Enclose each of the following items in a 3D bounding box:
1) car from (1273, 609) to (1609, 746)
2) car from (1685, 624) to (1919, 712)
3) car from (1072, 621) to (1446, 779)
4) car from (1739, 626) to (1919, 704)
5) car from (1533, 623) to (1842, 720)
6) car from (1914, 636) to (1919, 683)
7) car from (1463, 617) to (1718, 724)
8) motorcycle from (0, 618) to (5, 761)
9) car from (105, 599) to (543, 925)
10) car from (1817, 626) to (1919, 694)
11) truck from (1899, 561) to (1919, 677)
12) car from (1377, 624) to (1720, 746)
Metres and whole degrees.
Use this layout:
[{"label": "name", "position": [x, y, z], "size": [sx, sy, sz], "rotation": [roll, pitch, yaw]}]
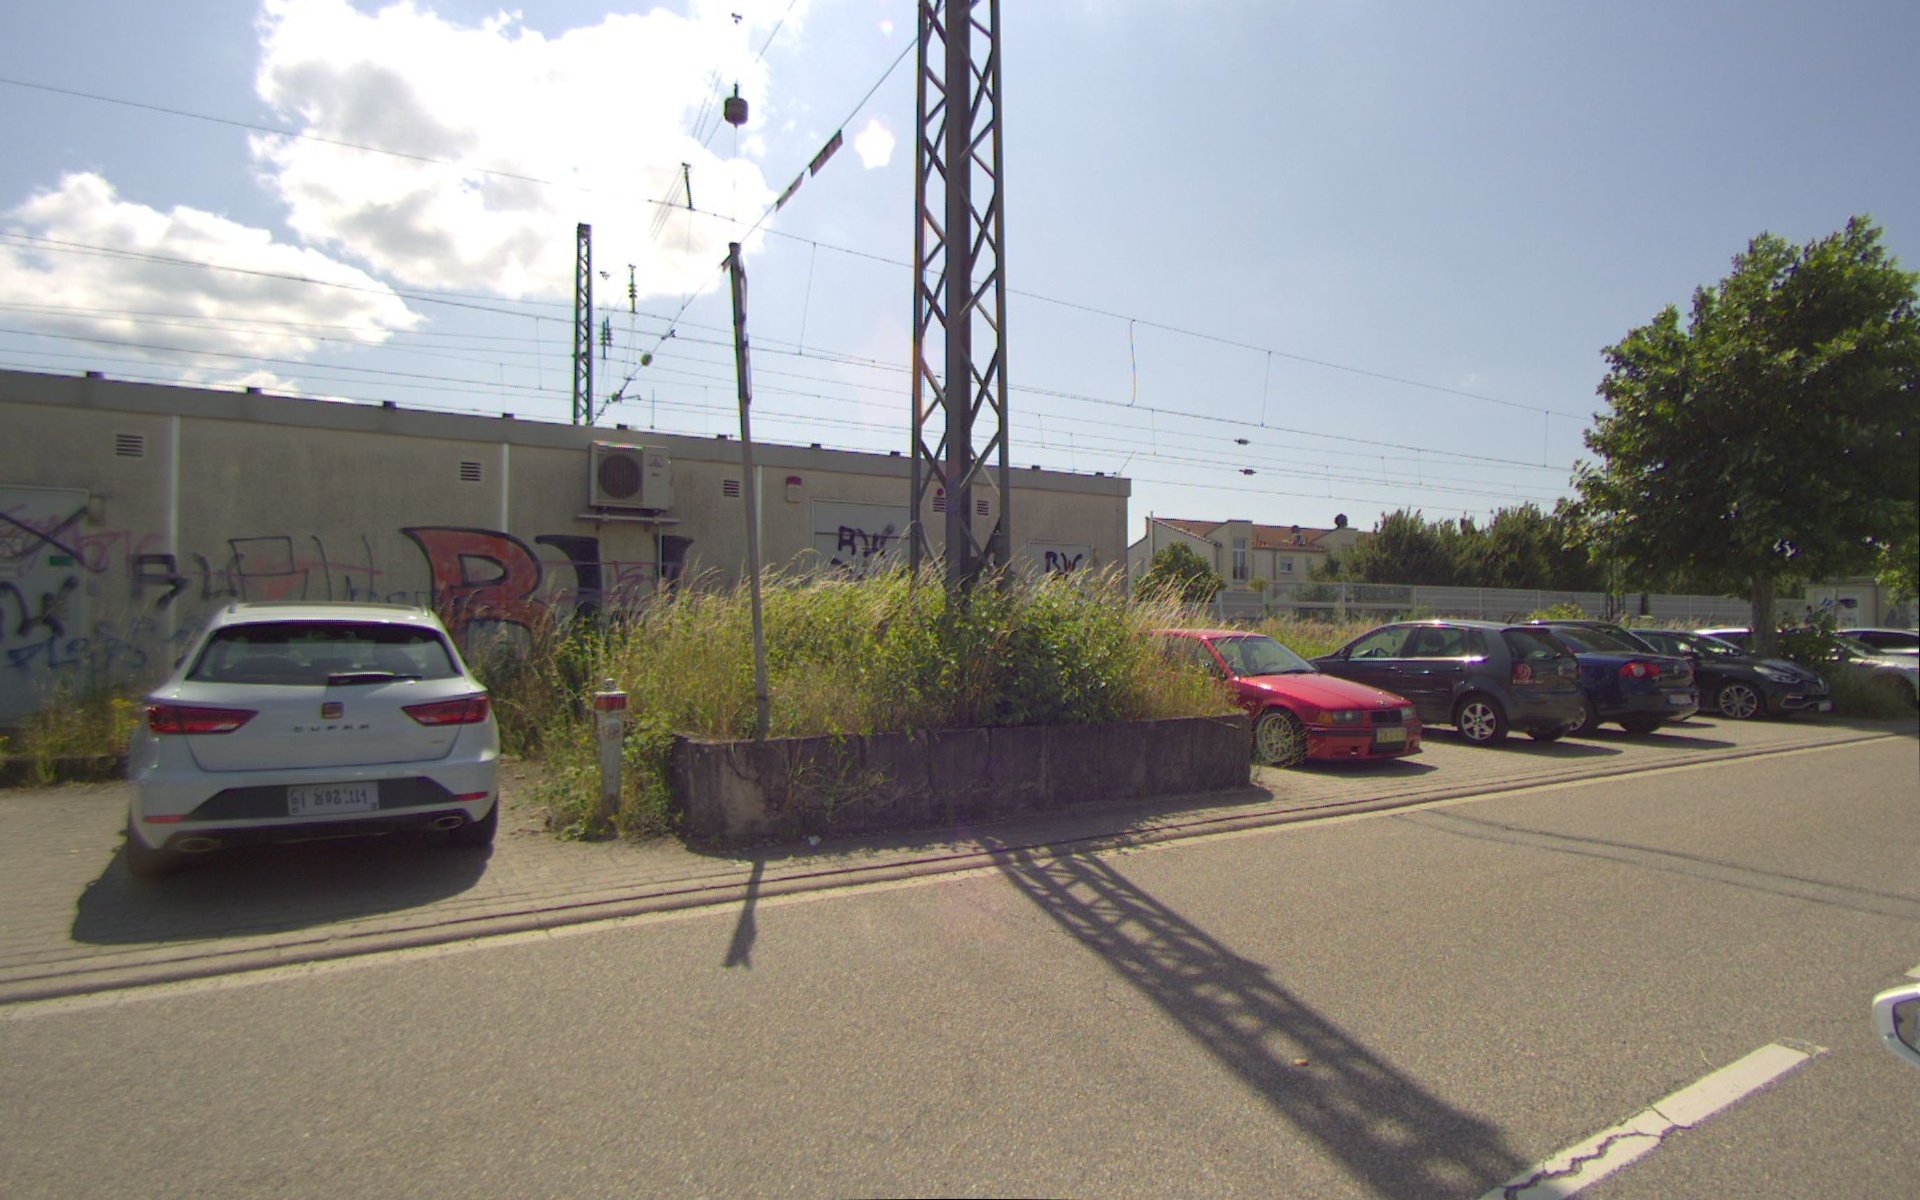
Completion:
[{"label": "car", "position": [6.123, 0.893, 13.170], "size": [1.666, 1.467, 3.644], "rotation": [1, 0, -33]}, {"label": "car", "position": [17.608, 1.301, 20.391], "size": [1.905, 1.553, 4.315], "rotation": [1, -1, -32]}, {"label": "car", "position": [3.149, 0.962, 11.407], "size": [1.654, 1.387, 4.052], "rotation": [0, 0, -31]}, {"label": "car", "position": [19.763, 1.380, 21.932], "size": [1.979, 1.568, 3.964], "rotation": [2, -1, -33]}, {"label": "car", "position": [12.611, 1.177, 17.683], "size": [1.766, 1.492, 4.053], "rotation": [2, -2, -31]}, {"label": "car", "position": [30.812, 1.805, 29.194], "size": [1.852, 1.413, 4.184], "rotation": [2, -1, -33]}, {"label": "car", "position": [10.162, 1.087, 16.373], "size": [1.585, 1.558, 3.169], "rotation": [2, -2, -33]}, {"label": "motorcycle", "position": [-6.209, 0.731, 5.601], "size": [0.710, 1.298, 2.709], "rotation": [2, -2, -32]}, {"label": "car", "position": [-4.081, 0.729, 6.569], "size": [1.768, 1.420, 4.049], "rotation": [2, -1, -33]}, {"label": "car", "position": [23.989, 1.484, 24.839], "size": [1.832, 1.639, 3.945], "rotation": [1, -2, -34]}, {"label": "truck", "position": [34.531, 0.619, 31.832], "size": [2.636, 3.873, 6.576], "rotation": [1, -2, -33]}, {"label": "car", "position": [8.198, 1.096, 14.385], "size": [1.764, 1.469, 3.931], "rotation": [1, -2, -27]}]
